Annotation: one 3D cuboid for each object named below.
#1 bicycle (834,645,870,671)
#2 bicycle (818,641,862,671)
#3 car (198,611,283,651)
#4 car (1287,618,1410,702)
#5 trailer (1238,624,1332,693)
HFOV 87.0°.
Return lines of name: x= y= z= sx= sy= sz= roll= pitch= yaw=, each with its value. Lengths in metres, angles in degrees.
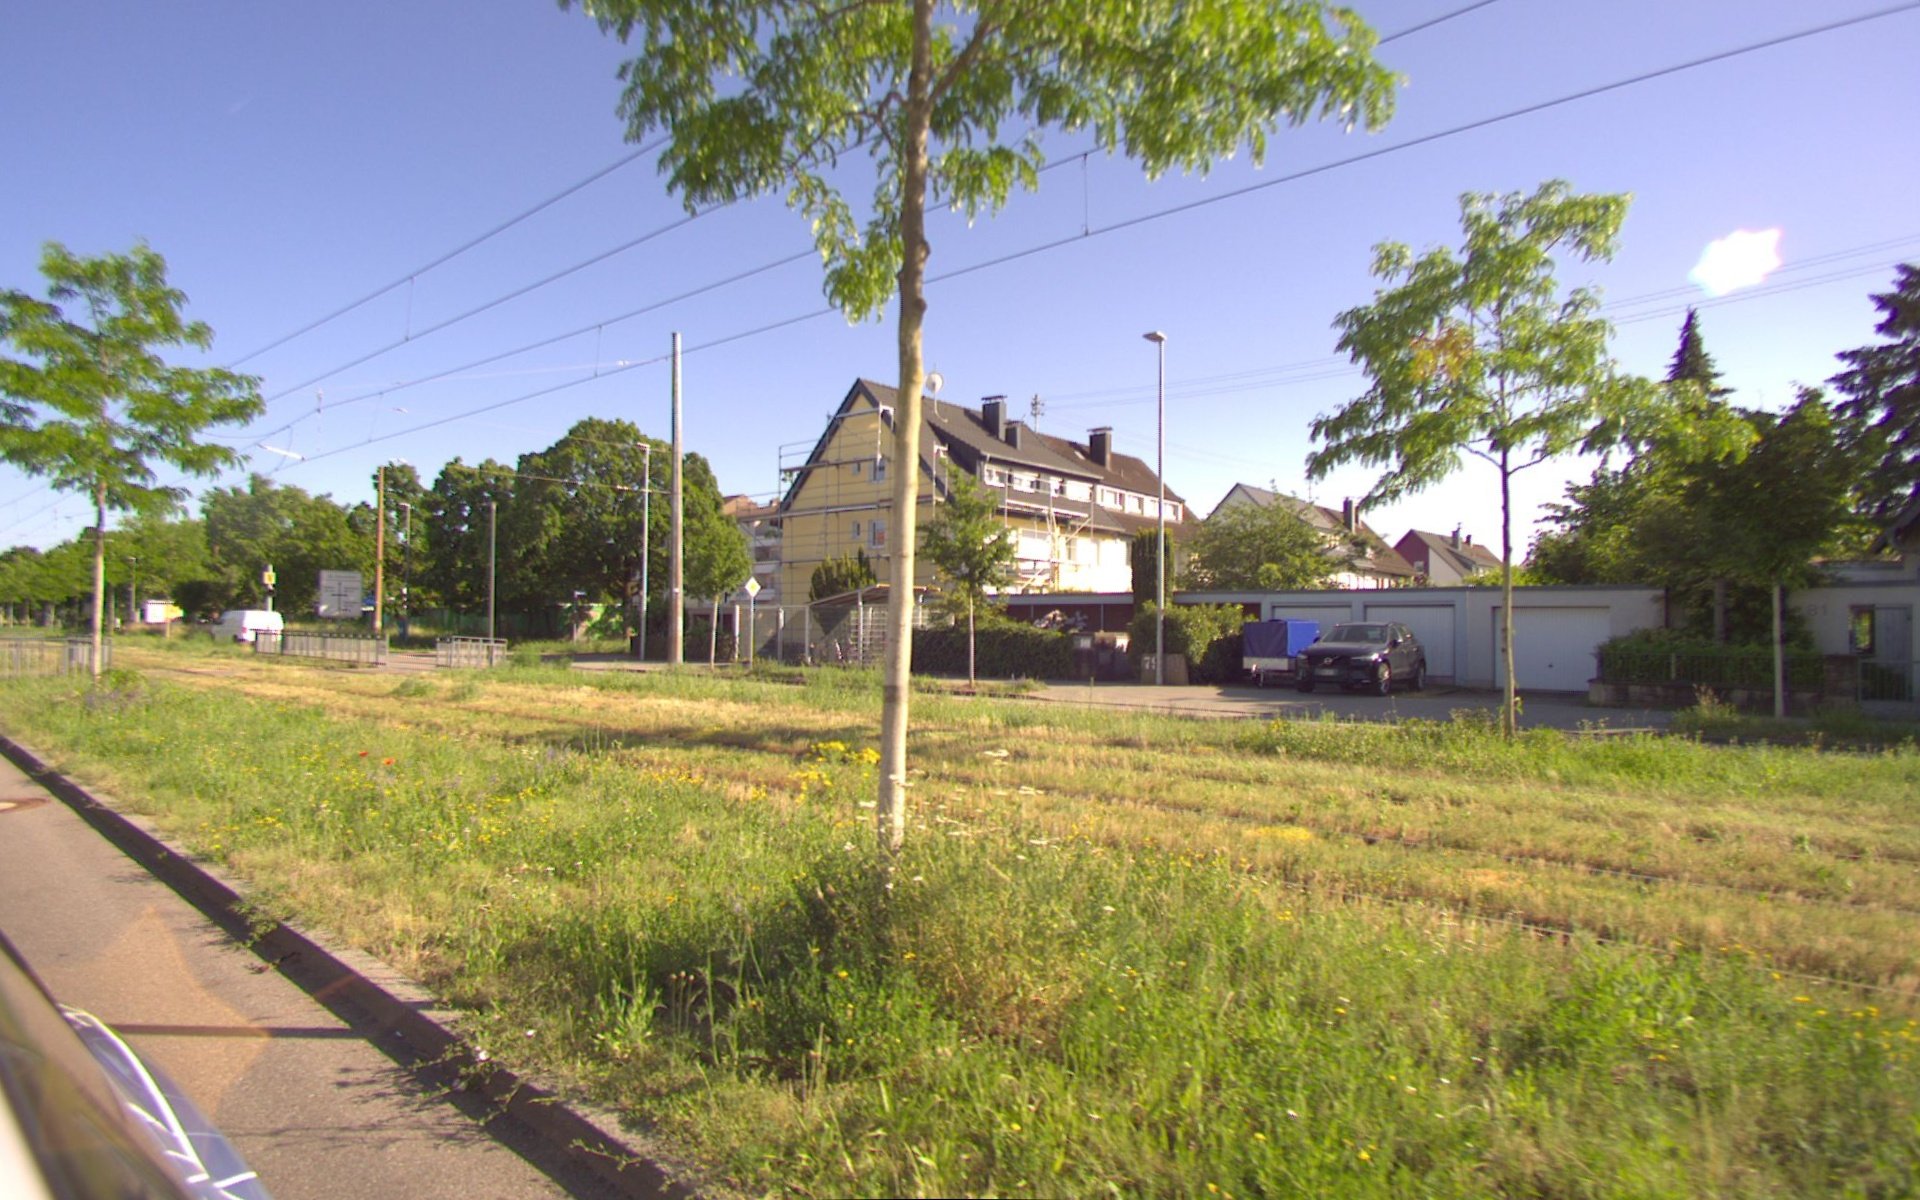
bicycle: x=-3.688 y=1.953 z=34.469 sx=1.508 sy=0.827 sz=0.307 roll=-1 pitch=-1 yaw=41
bicycle: x=-4.015 y=1.863 z=33.836 sx=1.748 sy=0.949 sz=0.419 roll=-1 pitch=-1 yaw=41
car: x=-36.752 y=1.587 z=51.665 sx=4.689 sy=1.929 sz=1.882 roll=-1 pitch=-5 yaw=34
car: x=9.103 y=1.358 z=23.477 sx=2.044 sy=1.748 sz=4.509 roll=-1 pitch=-3 yaw=29
trailer: x=8.374 y=1.468 z=25.940 sx=1.397 sy=1.660 sz=2.885 roll=-1 pitch=-3 yaw=38
